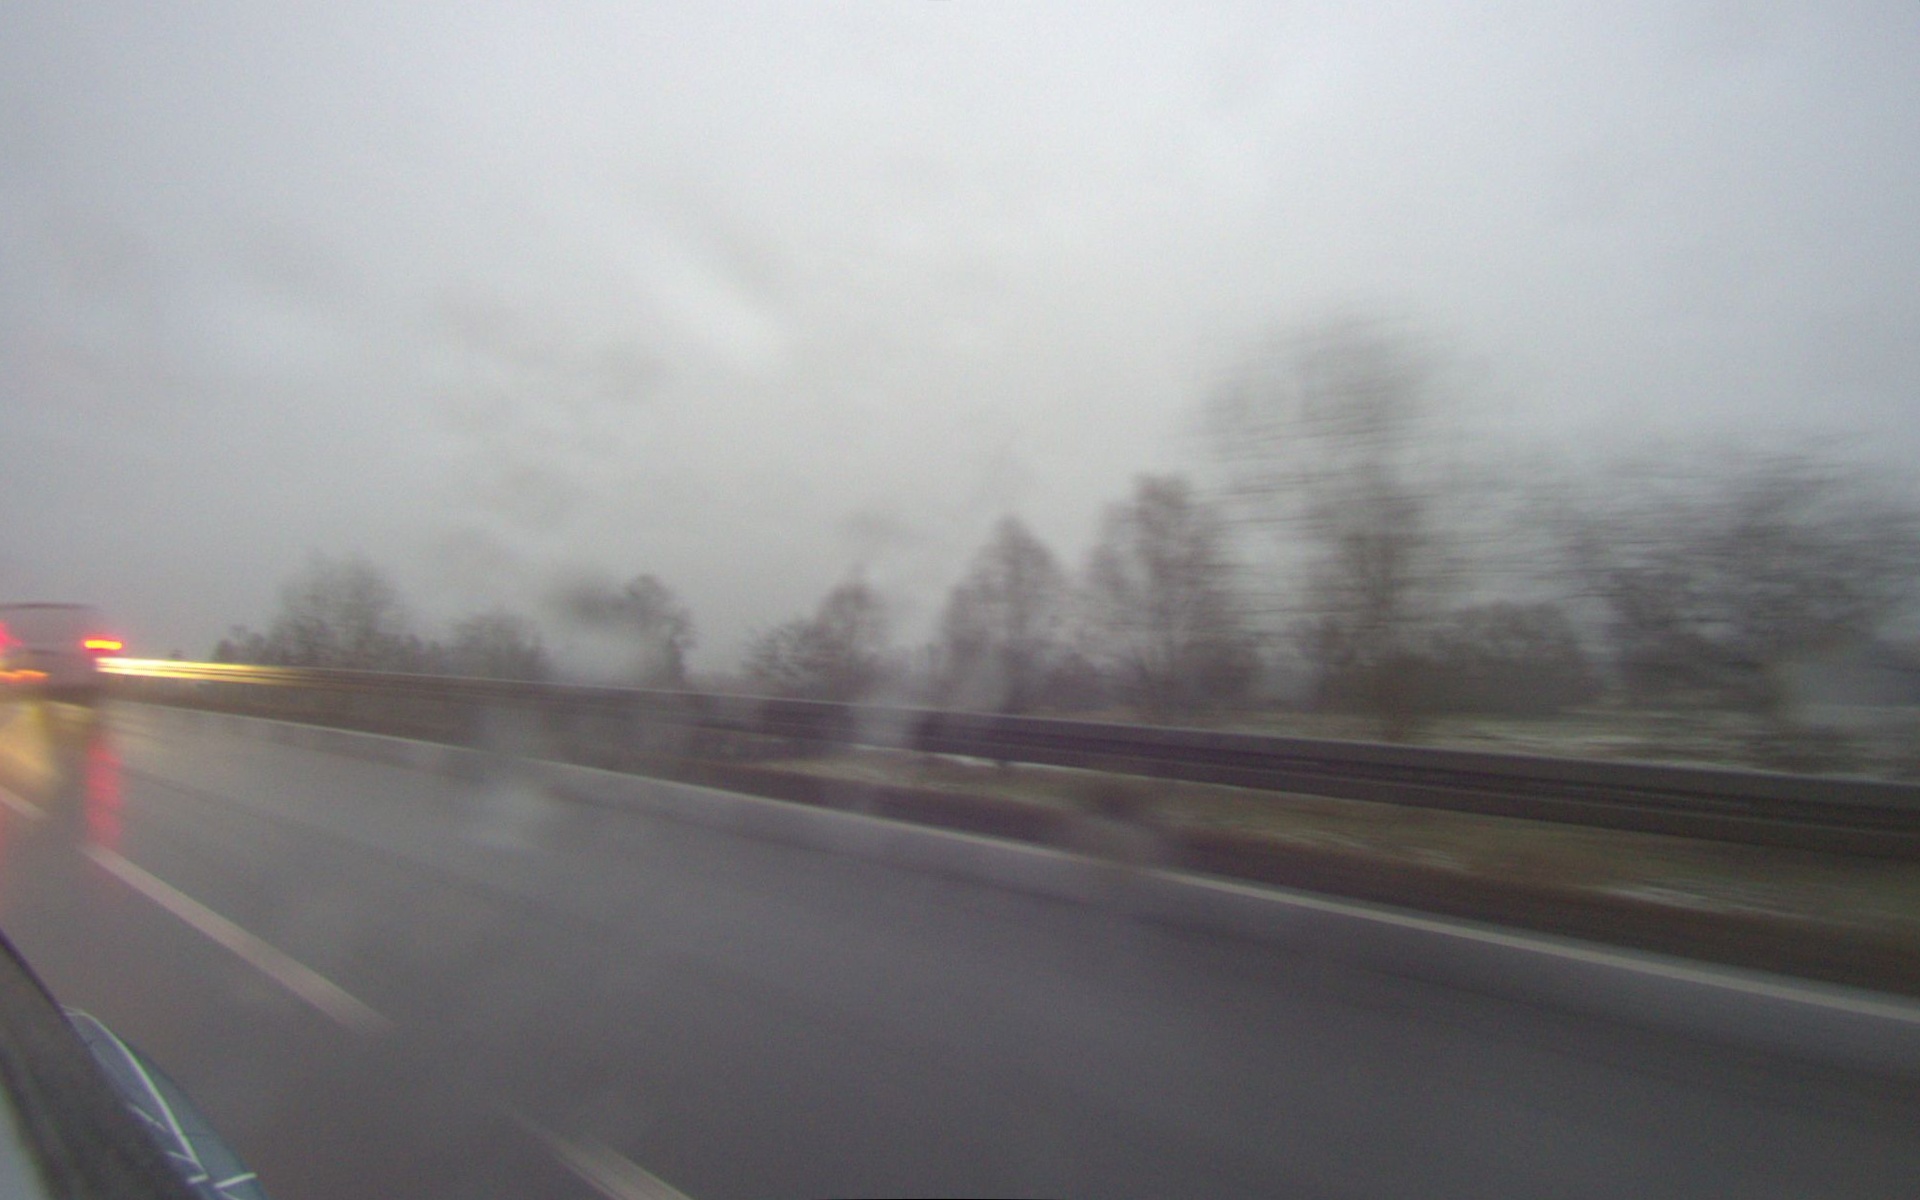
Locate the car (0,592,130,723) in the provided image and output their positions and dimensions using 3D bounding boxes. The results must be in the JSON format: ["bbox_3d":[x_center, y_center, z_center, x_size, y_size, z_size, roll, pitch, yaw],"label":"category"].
[{"bbox_3d":[-15.370,0.904,16.500,5.000,1.878,1.865,-2,-3,39],"label":"car"}]
